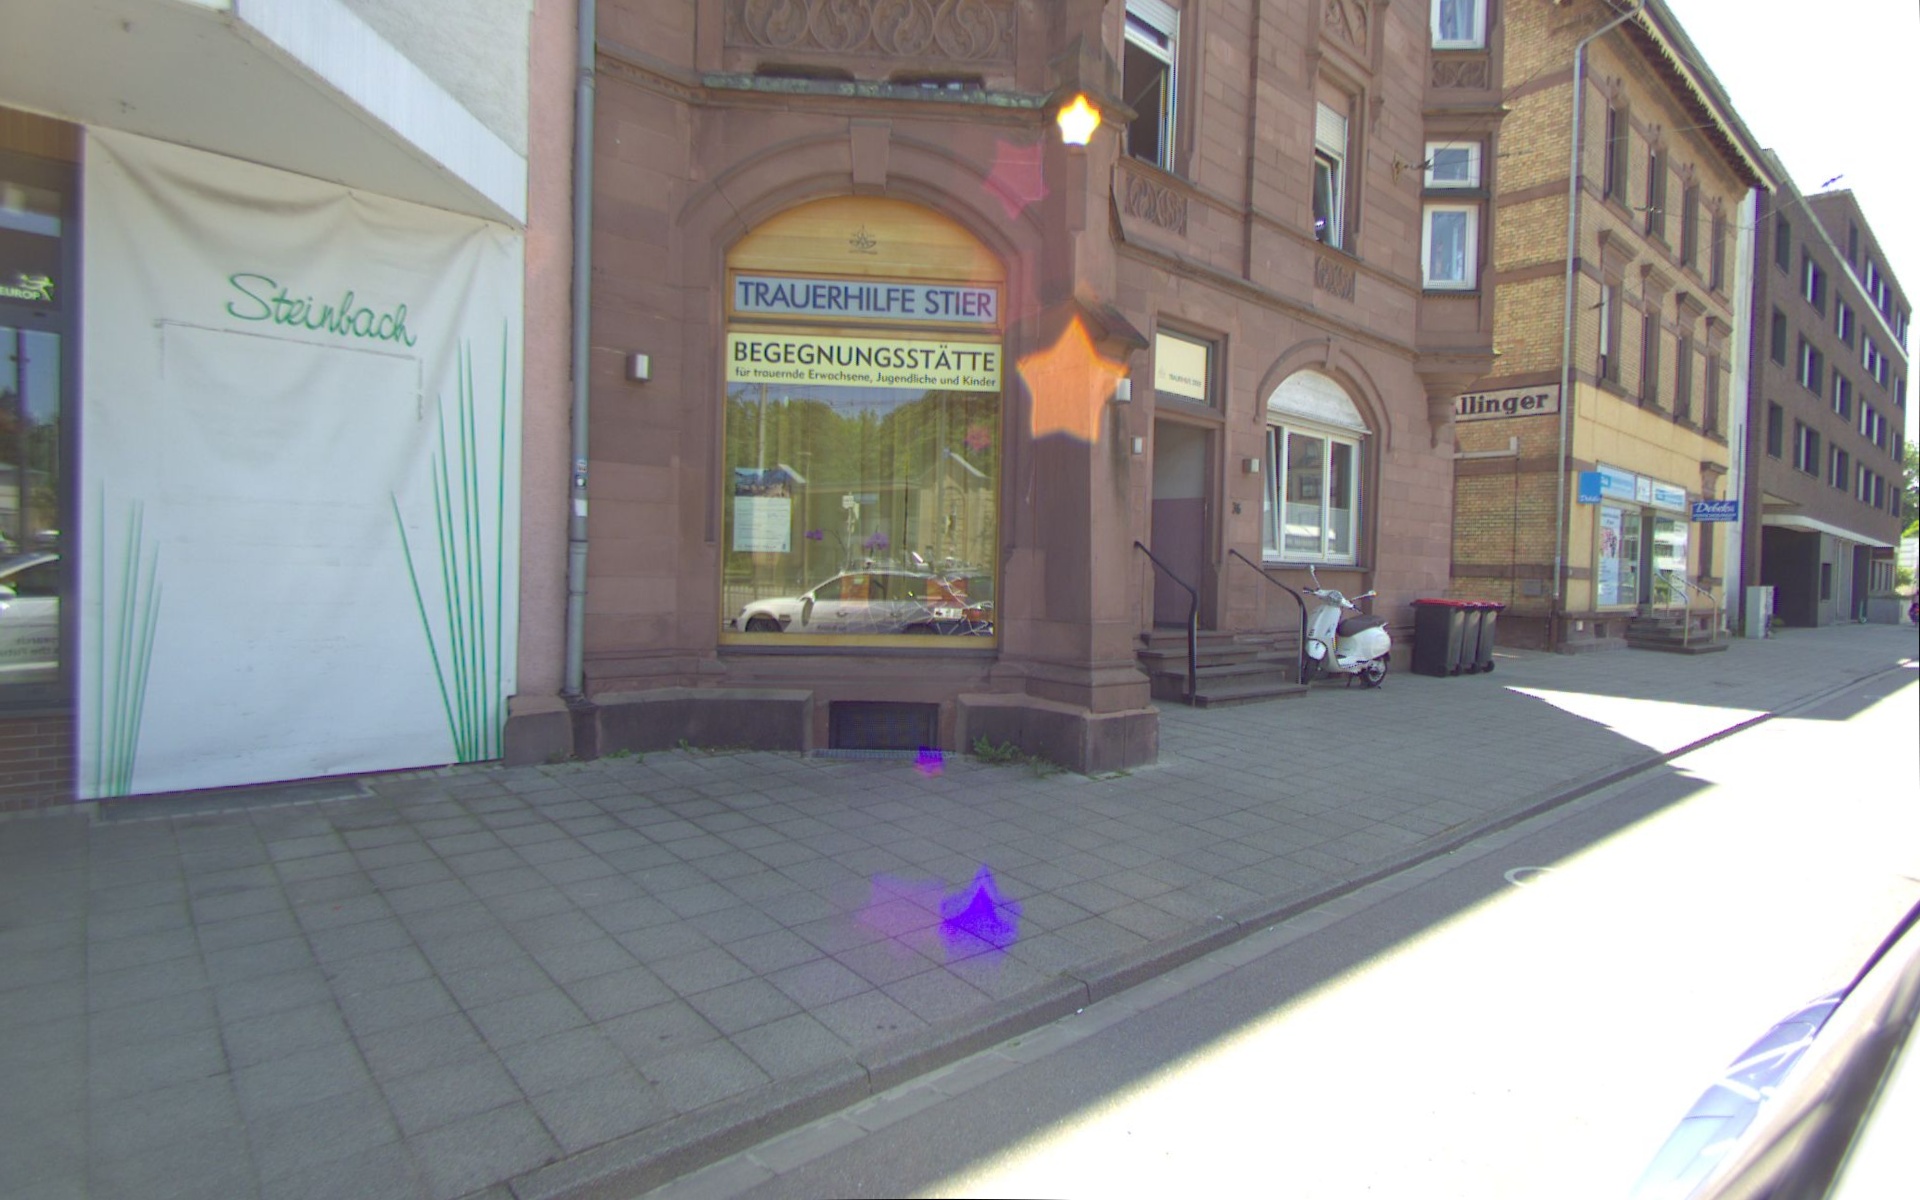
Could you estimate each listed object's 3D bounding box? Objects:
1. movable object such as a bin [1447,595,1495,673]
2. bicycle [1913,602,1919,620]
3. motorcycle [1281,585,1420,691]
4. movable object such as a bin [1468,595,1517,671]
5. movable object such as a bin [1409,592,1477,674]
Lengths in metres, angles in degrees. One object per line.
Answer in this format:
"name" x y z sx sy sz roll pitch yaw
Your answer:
"movable object such as a bin" 7.280 0.467 14.413 0.549 1.060 0.376 0 4 -42
"bicycle" 43.675 0.497 45.573 1.871 0.807 0.691 0 1 -33
"motorcycle" 4.616 0.415 11.914 1.843 1.163 0.529 0 1 -33
"movable object such as a bin" 7.788 0.470 14.799 0.646 1.060 0.376 0 4 -42
"movable object such as a bin" 6.753 0.444 14.156 0.549 1.060 0.649 0 4 -42
